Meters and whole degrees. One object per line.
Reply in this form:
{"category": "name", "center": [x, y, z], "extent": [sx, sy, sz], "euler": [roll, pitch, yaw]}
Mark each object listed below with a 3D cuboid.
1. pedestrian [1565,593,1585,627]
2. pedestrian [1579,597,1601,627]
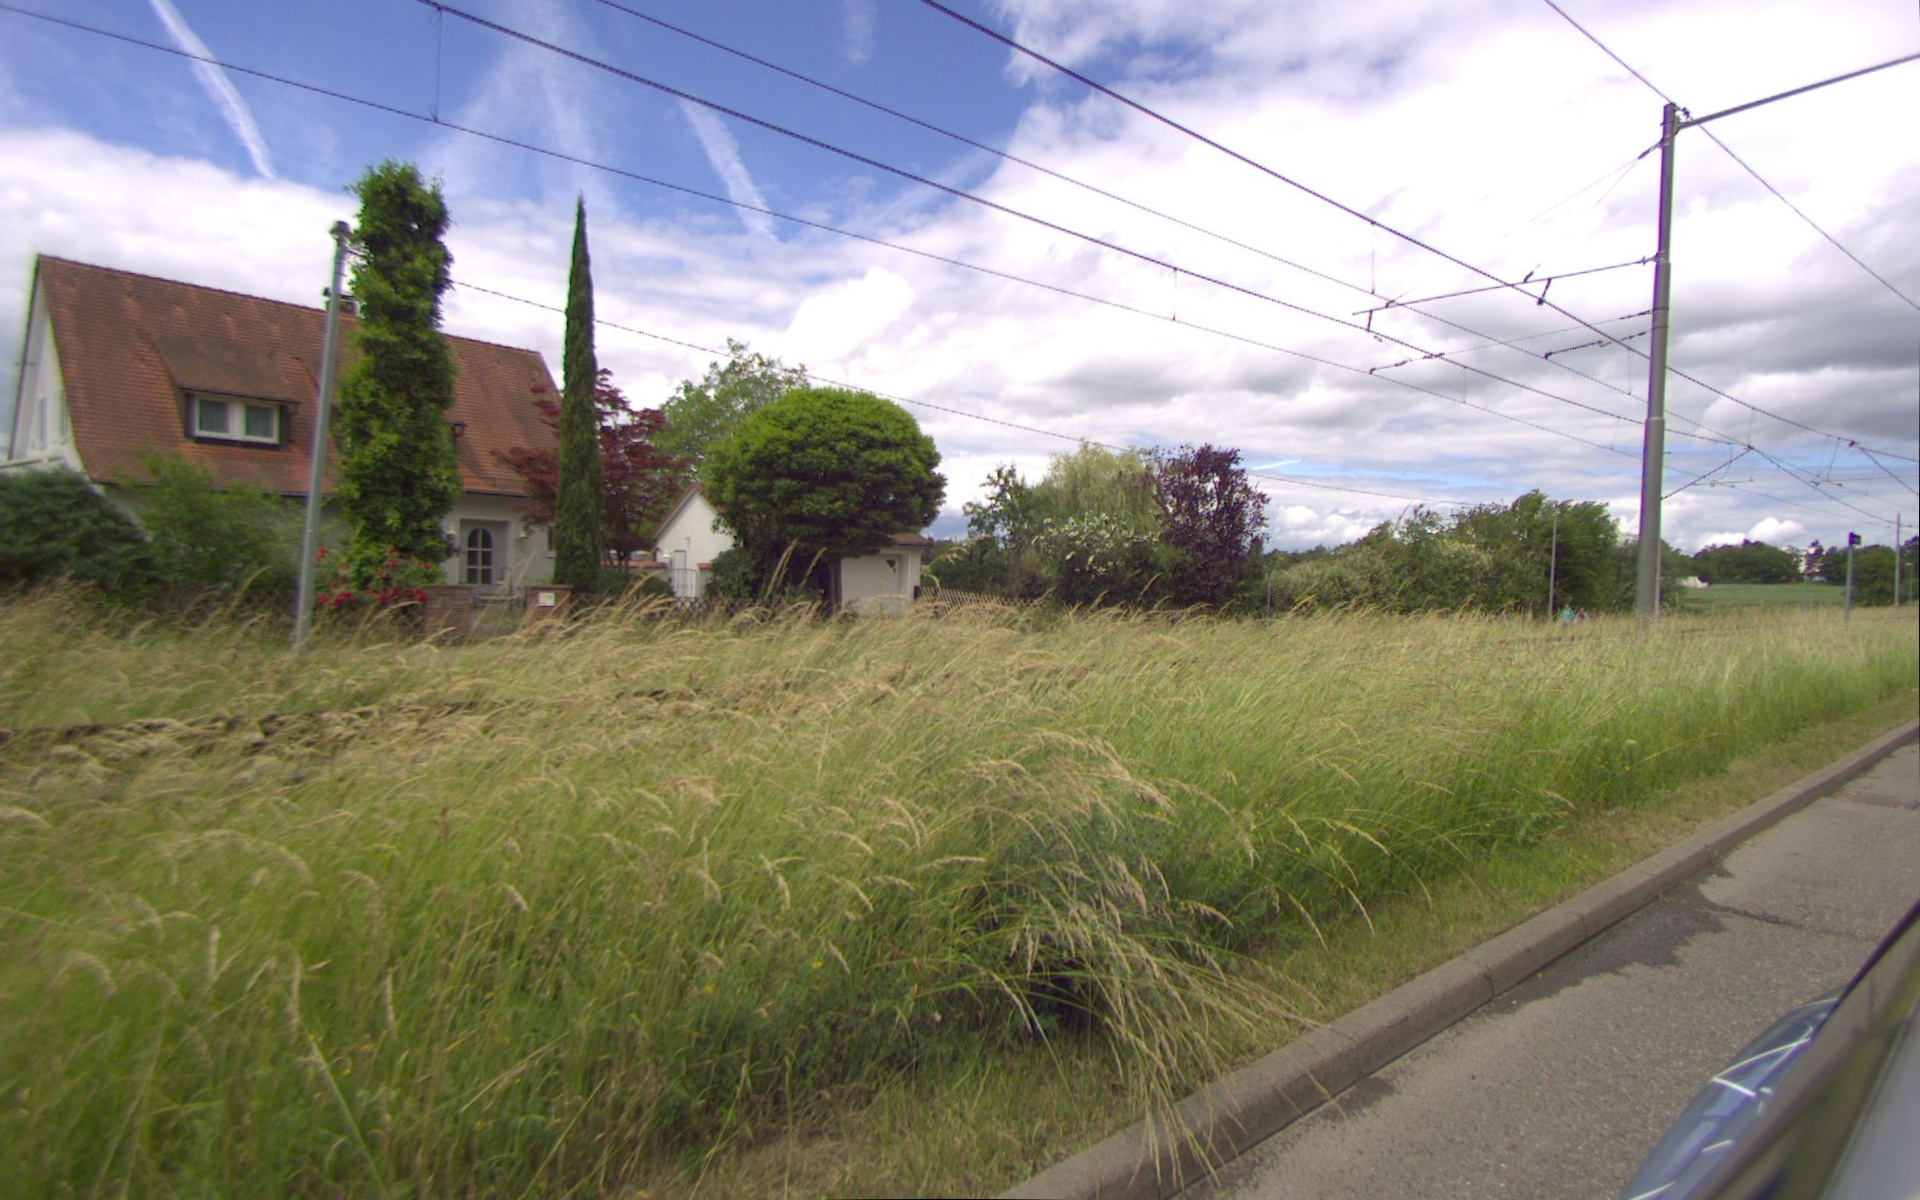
{"category": "pedestrian", "center": [30.269, 0.492, 49.840], "extent": [0.571, 1.643, 0.620], "euler": [0, 0, -20]}
{"category": "pedestrian", "center": [30.578, 0.566, 49.106], "extent": [0.652, 1.449, 0.601], "euler": [0, 0, -20]}
